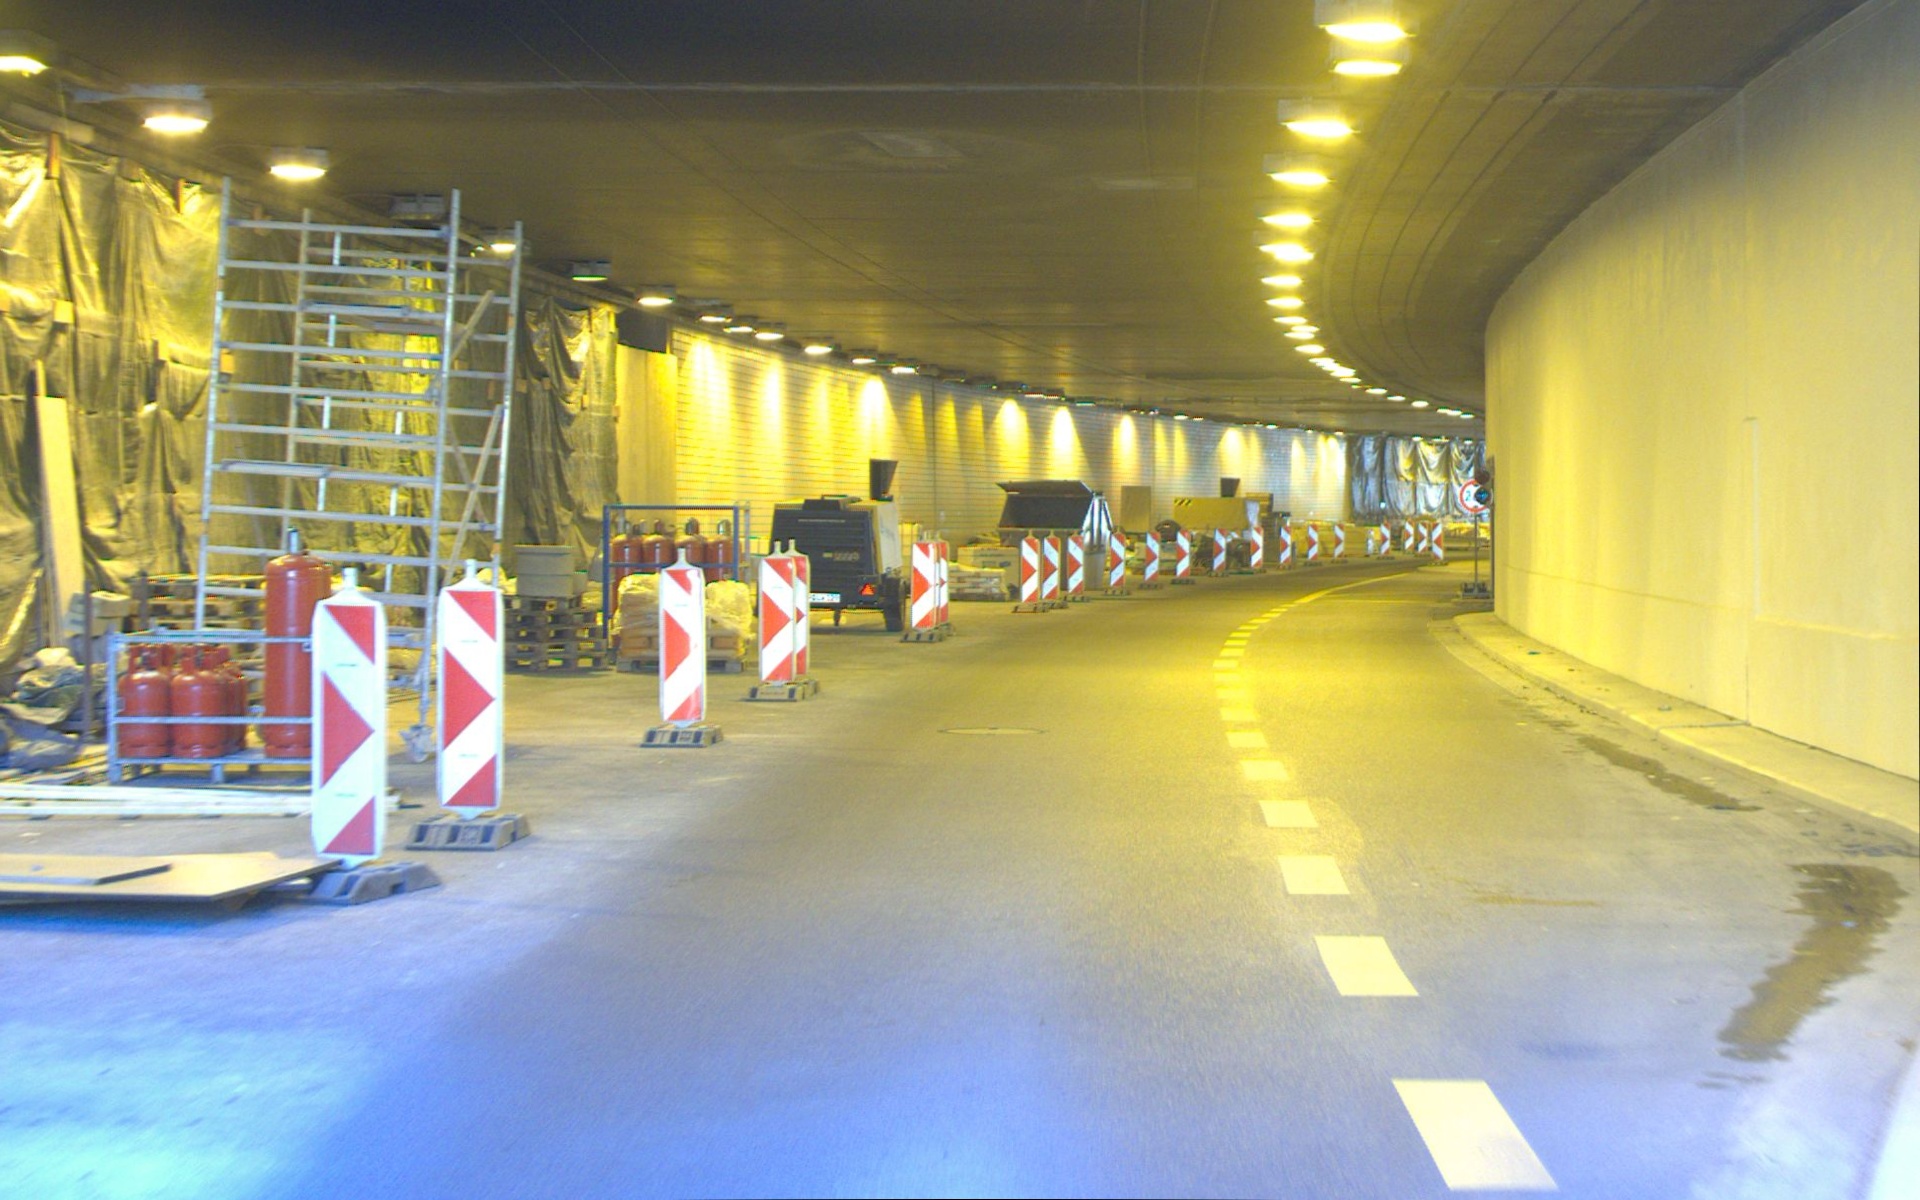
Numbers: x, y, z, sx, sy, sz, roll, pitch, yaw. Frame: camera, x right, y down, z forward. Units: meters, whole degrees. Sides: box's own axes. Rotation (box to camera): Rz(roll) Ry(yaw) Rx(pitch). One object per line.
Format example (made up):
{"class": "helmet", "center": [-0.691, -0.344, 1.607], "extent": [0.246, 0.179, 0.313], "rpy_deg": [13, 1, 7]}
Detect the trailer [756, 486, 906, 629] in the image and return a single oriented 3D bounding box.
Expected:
{"class": "trailer", "center": [-1.659, -0.563, 45.084], "extent": [1.581, 1.792, 2.939], "rpy_deg": [1, 1, 5]}
